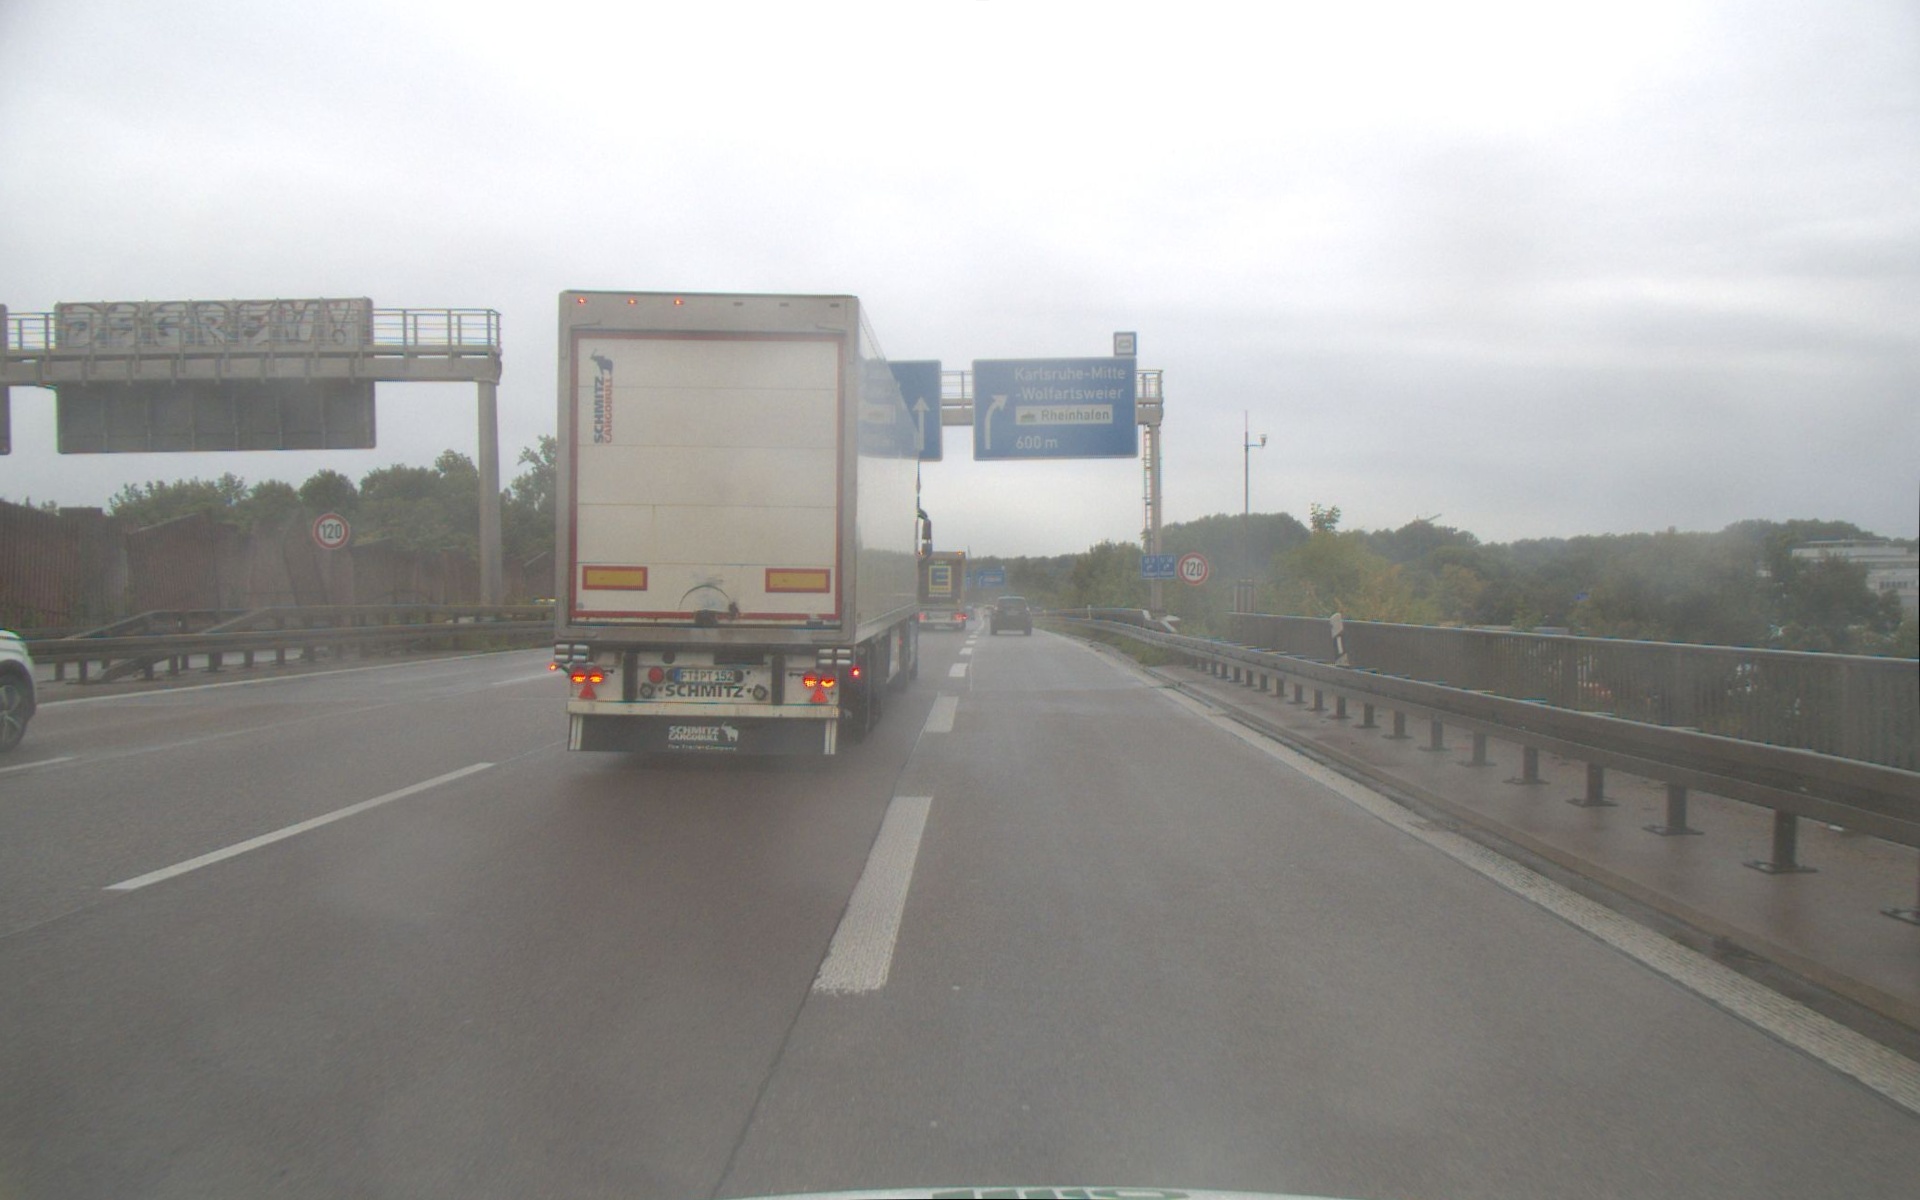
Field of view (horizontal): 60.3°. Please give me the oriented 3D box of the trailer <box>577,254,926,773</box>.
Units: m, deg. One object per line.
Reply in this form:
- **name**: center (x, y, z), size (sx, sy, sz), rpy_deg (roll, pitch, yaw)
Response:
- **trailer**: center (-1.868, -0.743, 21.036), size (2.294, 4.230, 14.828), rpy_deg (1, 0, 1)

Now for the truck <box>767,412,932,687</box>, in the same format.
- **truck**: center (-1.763, -0.796, 28.783), size (2.294, 4.230, 6.347), rpy_deg (1, 0, 1)

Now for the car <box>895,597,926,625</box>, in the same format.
- **car**: center (-3.541, 0.779, 118.487), size (2.007, 1.983, 4.000), rpy_deg (1, 0, 1)

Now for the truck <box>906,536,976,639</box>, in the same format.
- **truck**: center (-0.938, -0.637, 90.202), size (3.461, 5.274, 9.893), rpy_deg (1, 0, 1)

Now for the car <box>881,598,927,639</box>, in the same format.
- **car**: center (-2.498, 0.831, 74.682), size (1.855, 1.754, 4.000), rpy_deg (1, 0, 1)

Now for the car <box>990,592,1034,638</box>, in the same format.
- **car**: center (2.355, 0.659, 74.537), size (1.858, 1.983, 4.001), rpy_deg (1, 0, 2)

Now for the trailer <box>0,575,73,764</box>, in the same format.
- **trailer**: center (-9.286, 0.611, 13.320), size (1.777, 1.653, 4.568), rpy_deg (0, 0, 1)
